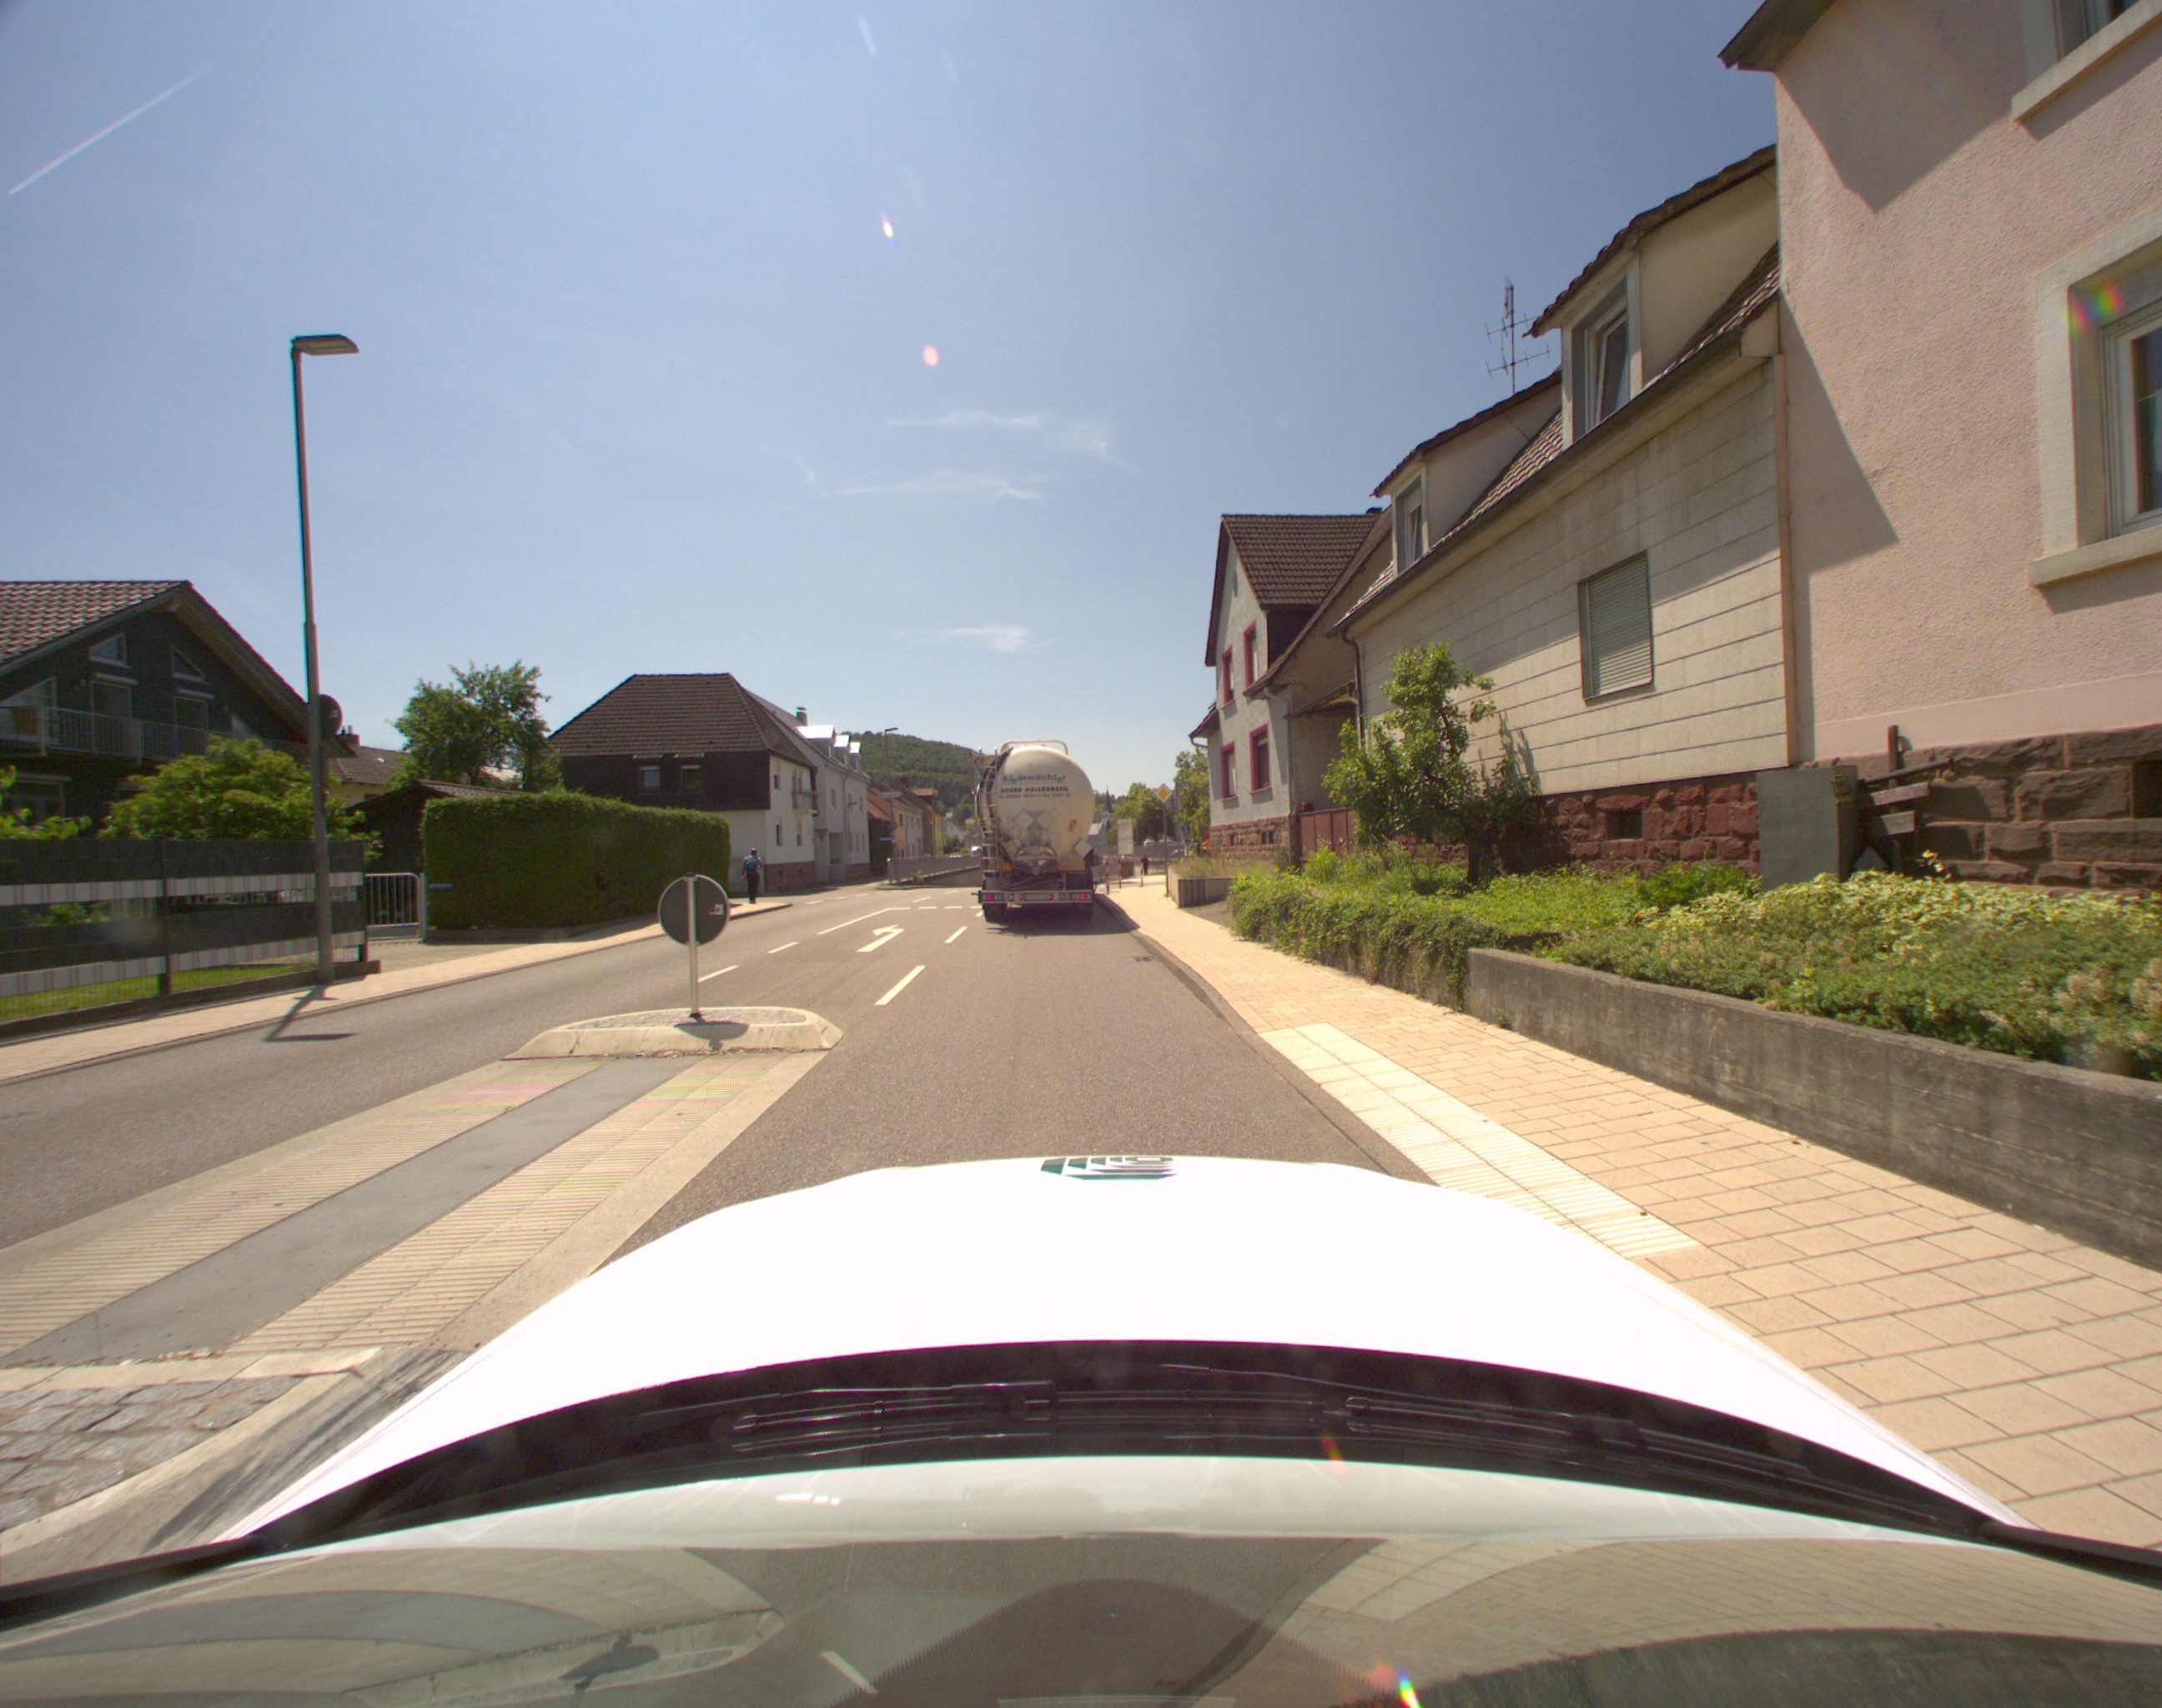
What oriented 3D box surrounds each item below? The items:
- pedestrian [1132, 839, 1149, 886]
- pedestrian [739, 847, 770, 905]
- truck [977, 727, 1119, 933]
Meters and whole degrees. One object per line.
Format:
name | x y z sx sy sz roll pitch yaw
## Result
pedestrian | 2.202 0.319 30.064 0.569 1.694 0.721 -1 -1 0
pedestrian | -10.392 0.689 25.953 0.711 1.823 0.896 0 -1 -8
truck | -1.042 -0.490 21.628 2.745 4.056 10.872 -1 0 -4
